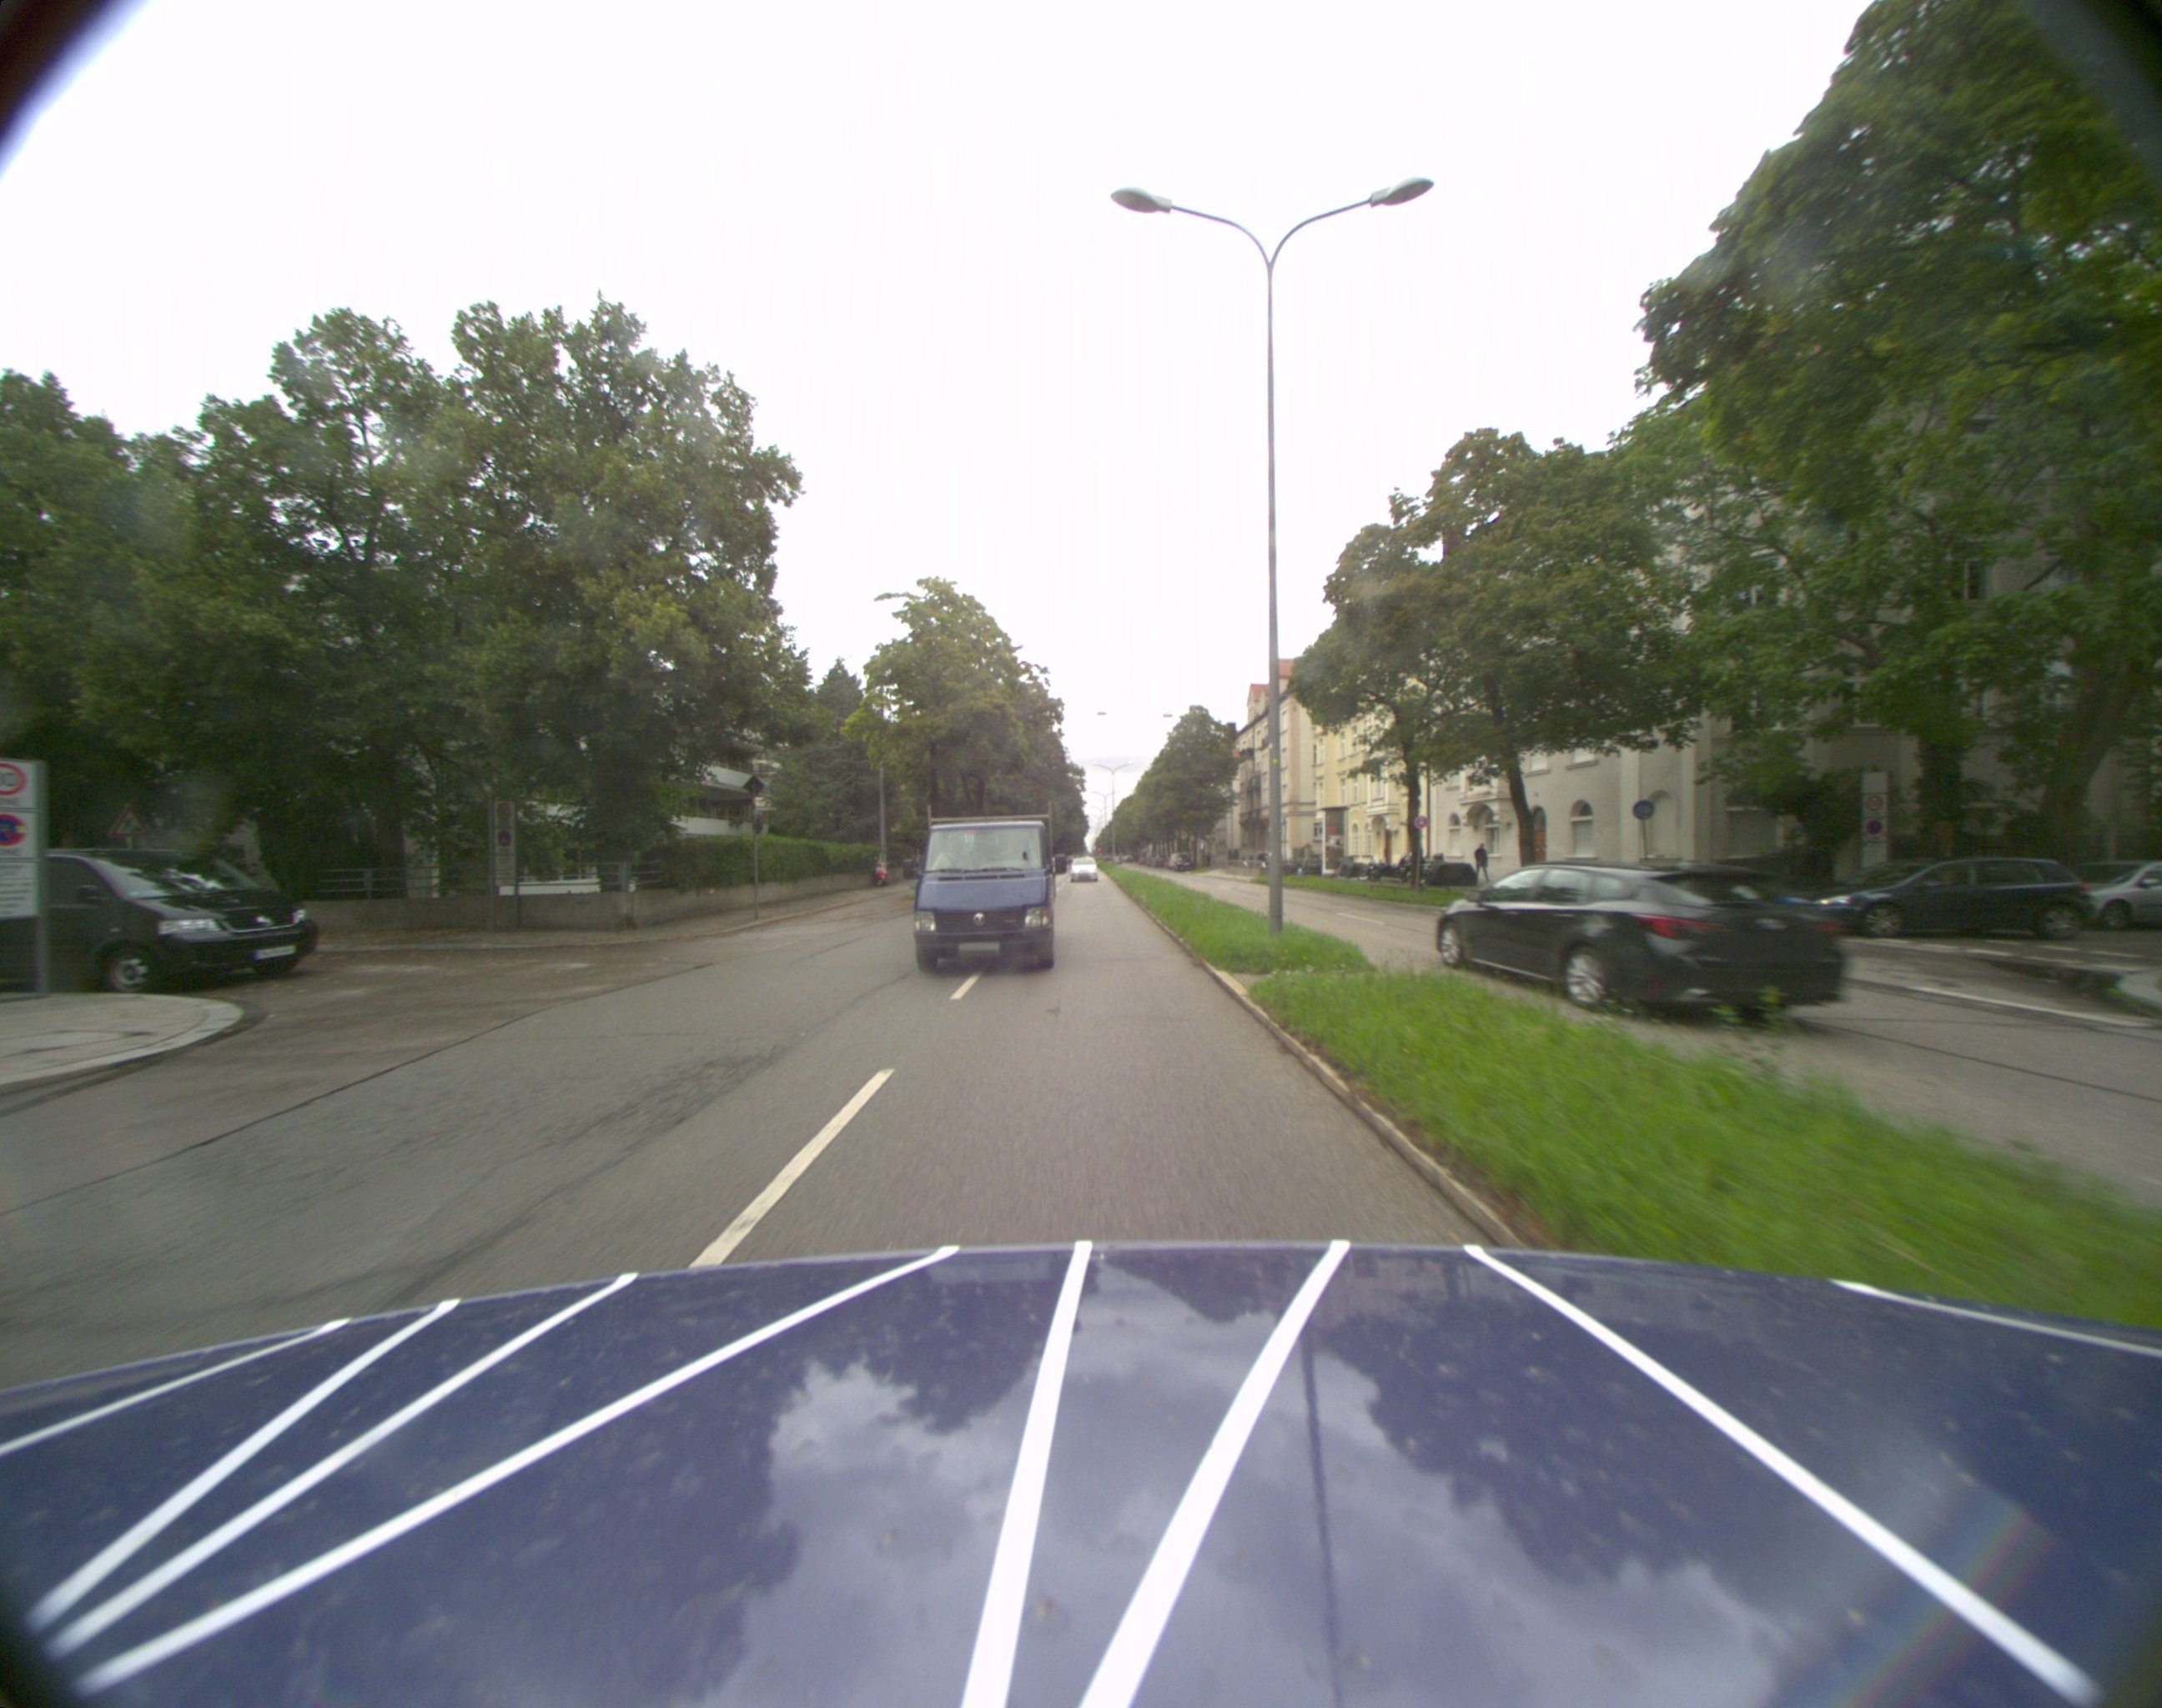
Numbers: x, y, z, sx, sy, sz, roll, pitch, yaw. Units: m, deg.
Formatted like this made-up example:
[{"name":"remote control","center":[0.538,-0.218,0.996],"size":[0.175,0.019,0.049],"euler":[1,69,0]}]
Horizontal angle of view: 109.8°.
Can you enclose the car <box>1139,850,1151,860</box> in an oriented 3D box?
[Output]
[{"name":"car","center":[11.695,0.193,139.751],"size":[1.872,1.827,4.000],"euler":[-1,0,1]}]

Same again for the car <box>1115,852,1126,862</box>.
[{"name":"car","center":[7.157,0.458,137.097],"size":[1.814,1.761,4.000],"euler":[-1,0,1]}]

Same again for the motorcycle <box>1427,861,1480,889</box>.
[{"name":"motorcycle","center":[16.009,0.884,32.671],"size":[1.953,1.143,0.597],"euler":[-1,1,38]}]

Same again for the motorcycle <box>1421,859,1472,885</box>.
[{"name":"motorcycle","center":[16.319,0.799,33.942],"size":[1.953,1.143,0.597],"euler":[-1,1,38]}]

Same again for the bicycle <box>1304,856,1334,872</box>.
[{"name":"bicycle","center":[16.959,0.735,54.140],"size":[1.954,1.143,0.597],"euler":[-1,1,21]}]

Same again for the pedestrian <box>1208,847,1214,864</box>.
[{"name":"pedestrian","center":[15.949,0.196,93.269],"size":[0.641,2.031,0.738],"euler":[-1,1,12]}]

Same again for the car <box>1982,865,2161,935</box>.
[{"name":"car","center":[21.984,0.926,15.973],"size":[3.997,1.314,1.795],"euler":[-1,0,-1]}]

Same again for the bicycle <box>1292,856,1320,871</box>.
[{"name":"bicycle","center":[16.937,0.704,57.140],"size":[1.954,1.143,0.597],"euler":[-1,1,21]}]

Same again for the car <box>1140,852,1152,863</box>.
[{"name":"car","center":[11.494,0.642,134.795],"size":[1.872,1.827,4.000],"euler":[-1,0,1]}]

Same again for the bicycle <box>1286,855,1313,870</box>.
[{"name":"bicycle","center":[16.915,0.685,58.891],"size":[1.954,1.143,0.597],"euler":[-1,1,21]}]

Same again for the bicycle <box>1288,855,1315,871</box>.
[{"name":"bicycle","center":[16.838,0.695,58.087],"size":[1.954,1.143,0.597],"euler":[-1,1,21]}]

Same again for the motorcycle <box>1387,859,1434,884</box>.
[{"name":"motorcycle","center":[15.614,0.840,36.048],"size":[1.953,1.143,0.597],"euler":[-1,1,38]}]

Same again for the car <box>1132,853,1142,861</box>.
[{"name":"car","center":[12.711,0.669,172.517],"size":[1.872,1.827,4.000],"euler":[-1,0,1]}]

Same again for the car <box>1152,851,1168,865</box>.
[{"name":"car","center":[11.123,0.559,107.319],"size":[1.872,1.827,4.000],"euler":[-1,0,1]}]

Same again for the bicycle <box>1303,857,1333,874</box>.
[{"name":"bicycle","center":[16.387,0.774,52.554],"size":[1.954,1.143,0.597],"euler":[-1,1,21]}]

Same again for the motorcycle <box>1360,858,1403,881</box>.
[{"name":"motorcycle","center":[15.395,0.774,38.930],"size":[1.953,1.143,0.597],"euler":[-1,1,38]}]

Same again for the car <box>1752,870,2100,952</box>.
[{"name":"car","center":[15.418,1.018,14.129],"size":[3.993,1.367,1.864],"euler":[-1,-1,11]}]

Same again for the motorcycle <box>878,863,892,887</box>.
[{"name":"motorcycle","center":[-9.575,1.007,37.080],"size":[0.497,1.135,1.631],"euler":[-1,0,-9]}]

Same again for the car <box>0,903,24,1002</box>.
[{"name":"car","center":[-18.239,1.490,10.810],"size":[3.996,1.456,1.868],"euler":[0,2,4]}]

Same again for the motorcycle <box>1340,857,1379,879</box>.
[{"name":"motorcycle","center":[15.016,0.772,40.950],"size":[1.954,1.143,0.597],"euler":[-1,1,21]}]

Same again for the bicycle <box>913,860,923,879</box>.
[{"name":"bicycle","center":[-9.551,0.914,44.608],"size":[0.490,1.092,1.631],"euler":[-1,0,-9]}]

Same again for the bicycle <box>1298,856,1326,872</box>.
[{"name":"bicycle","center":[16.876,0.718,55.525],"size":[1.954,1.143,0.597],"euler":[-1,1,21]}]

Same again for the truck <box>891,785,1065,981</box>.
[{"name":"truck","center":[-1.364,0.374,12.252],"size":[1.998,2.475,5.151],"euler":[-1,0,1]}]

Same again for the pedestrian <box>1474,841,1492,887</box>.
[{"name":"pedestrian","center":[18.116,0.444,34.246],"size":[0.599,2.048,0.685],"euler":[0,1,20]}]

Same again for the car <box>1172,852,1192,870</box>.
[{"name":"car","center":[11.624,0.793,87.597],"size":[1.790,2.002,4.000],"euler":[-1,0,1]}]

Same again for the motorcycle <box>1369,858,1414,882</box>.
[{"name":"motorcycle","center":[15.344,0.792,37.603],"size":[1.953,1.143,0.597],"euler":[-1,1,38]}]

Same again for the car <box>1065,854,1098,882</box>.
[{"name":"car","center":[0.028,0.826,46.942],"size":[1.946,1.642,4.000],"euler":[-1,0,0]}]

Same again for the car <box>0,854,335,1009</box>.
[{"name":"car","center":[-13.660,1.006,10.624],"size":[4.730,1.913,1.875],"euler":[-1,2,4]}]

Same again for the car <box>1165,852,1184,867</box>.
[{"name":"car","center":[11.832,0.649,96.487],"size":[1.872,1.827,4.000],"euler":[-1,0,1]}]

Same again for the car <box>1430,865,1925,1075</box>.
[{"name":"car","center":[5.584,0.922,8.015],"size":[1.815,1.498,4.323],"euler":[2,0,1]}]
